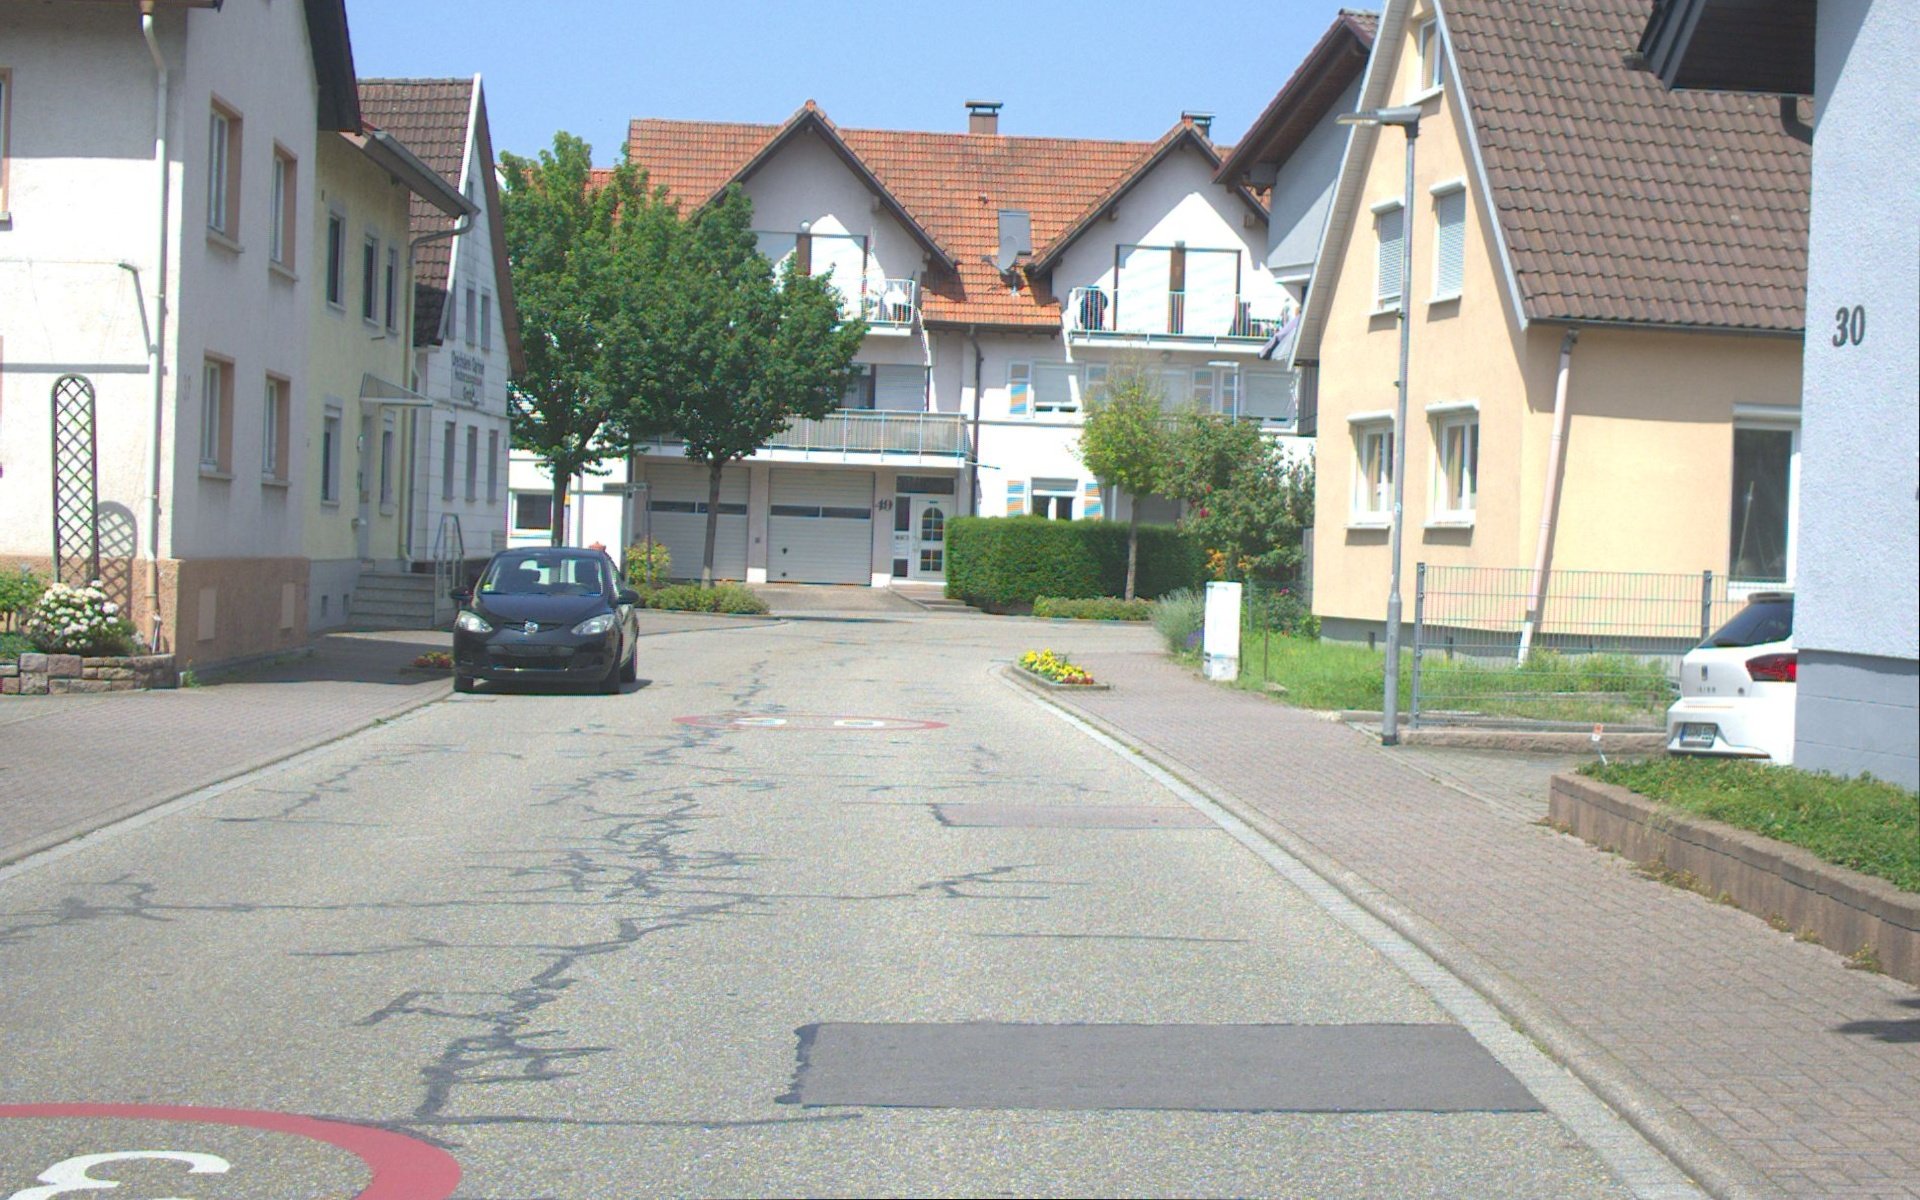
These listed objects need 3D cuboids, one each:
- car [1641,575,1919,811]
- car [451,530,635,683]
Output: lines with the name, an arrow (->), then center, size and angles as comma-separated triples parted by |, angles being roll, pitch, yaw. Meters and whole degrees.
car -> 5.809, 0.552, 20.650 | 3.042, 1.341, 1.423 | 1, 0, -8
car -> -4.285, 0.019, 35.789 | 1.626, 1.481, 4.001 | 1, 1, -3
